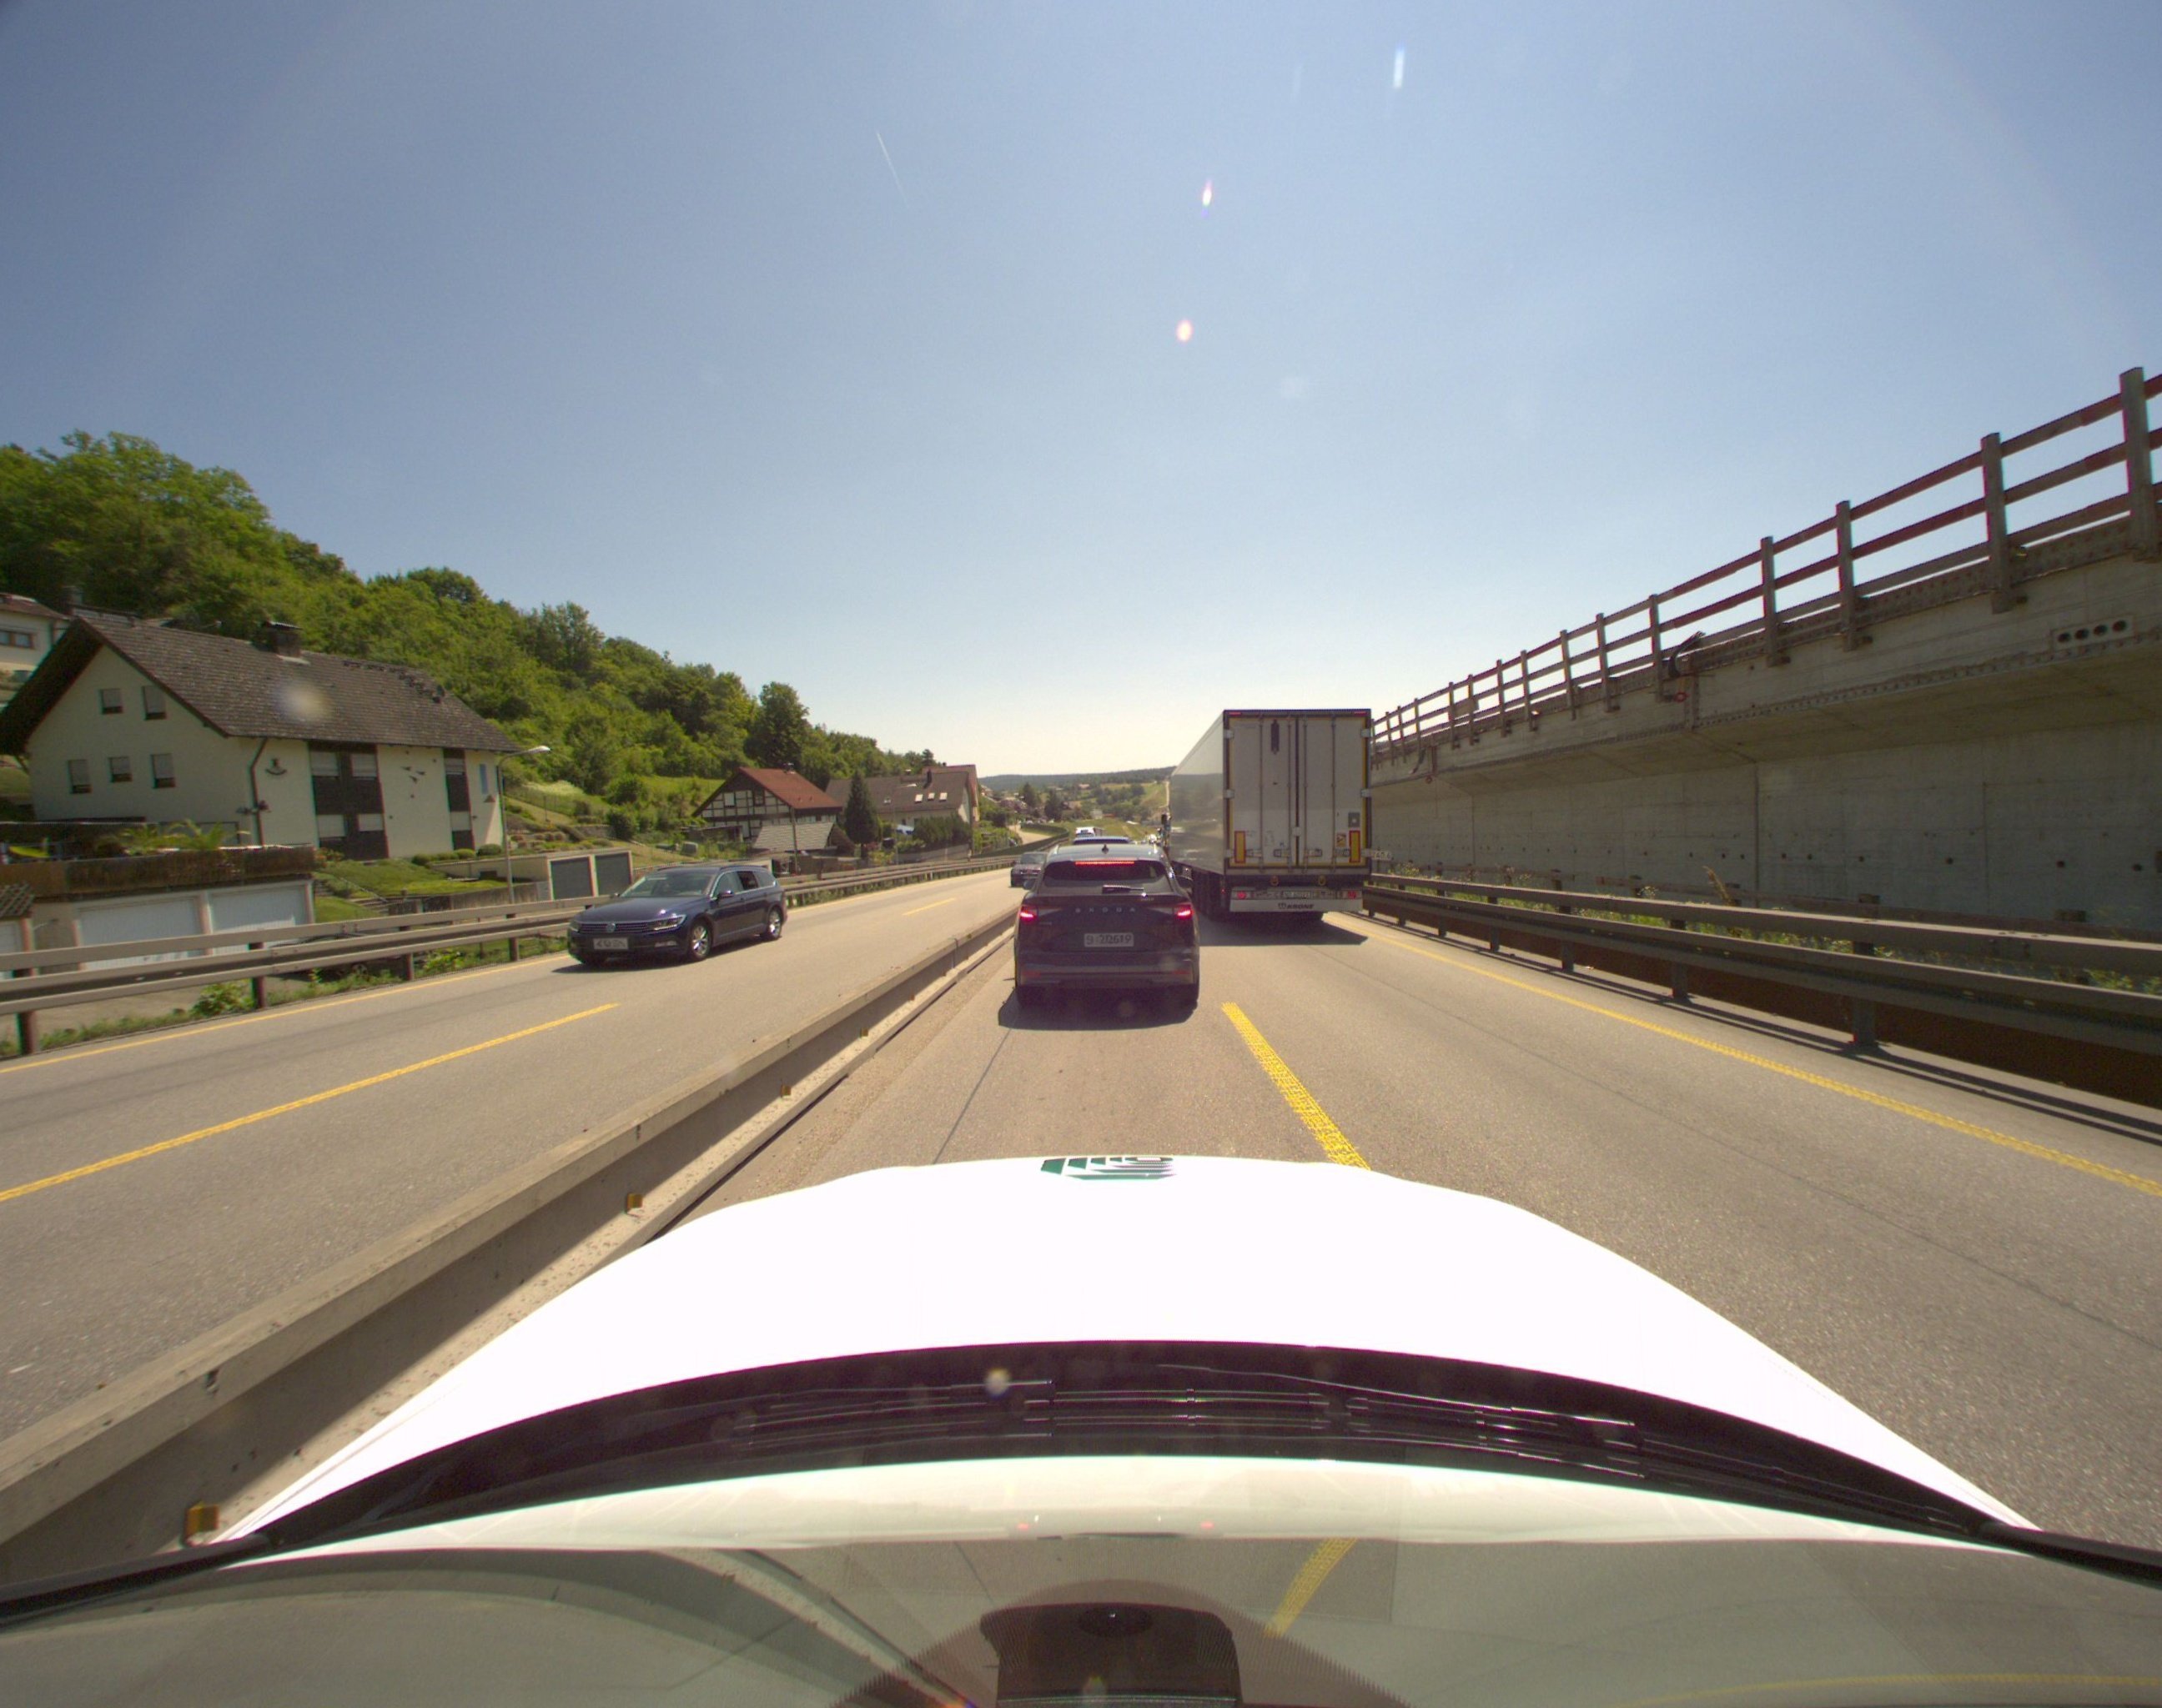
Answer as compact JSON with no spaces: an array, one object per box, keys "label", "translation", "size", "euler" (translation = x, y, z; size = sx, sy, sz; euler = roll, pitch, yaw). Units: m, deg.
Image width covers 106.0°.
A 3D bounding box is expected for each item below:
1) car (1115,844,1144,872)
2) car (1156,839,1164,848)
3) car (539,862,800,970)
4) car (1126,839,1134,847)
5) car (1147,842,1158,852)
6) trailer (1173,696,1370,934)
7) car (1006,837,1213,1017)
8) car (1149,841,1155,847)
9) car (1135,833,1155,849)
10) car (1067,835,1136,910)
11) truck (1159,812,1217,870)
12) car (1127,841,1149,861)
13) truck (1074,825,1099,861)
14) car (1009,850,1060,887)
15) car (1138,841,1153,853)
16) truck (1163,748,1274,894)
[{"label":"car","translation":[3.034,0.207,51.042],"size":[1.700,1.622,4.002],"euler":[0,1,2]},{"label":"car","translation":[16.761,-2.188,173.126],"size":[1.692,1.728,3.843],"euler":[-1,-1,7]},{"label":"car","translation":[-6.568,0.893,13.726],"size":[1.834,1.418,4.689],"euler":[-2,-1,2]},{"label":"car","translation":[10.646,-2.374,176.630],"size":[1.694,1.728,3.839],"euler":[-1,-1,3]},{"label":"car","translation":[11.902,-1.151,136.046],"size":[1.692,1.728,3.843],"euler":[-1,-1,7]},{"label":"trailer","translation":[3.967,-0.628,19.945],"size":[2.522,4.127,11.553],"euler":[0,-1,2]},{"label":"car","translation":[0.208,0.662,9.219],"size":[1.838,1.586,3.904],"euler":[0,-1,-2]},{"label":"car","translation":[20.995,-2.895,240.018],"size":[1.692,1.728,3.843],"euler":[-1,-1,7]},{"label":"car","translation":[6.950,-1.417,88.595],"size":[1.985,1.585,3.839],"euler":[-1,-1,3]},{"label":"car","translation":[0.494,0.433,22.771],"size":[1.702,1.881,3.998],"euler":[0,1,-2]},{"label":"truck","translation":[6.644,-0.693,52.138],"size":[3.179,3.191,12.828],"euler":[-1,0,6]},{"label":"car","translation":[4.732,-0.264,67.973],"size":[1.700,1.622,4.002],"euler":[0,1,2]},{"label":"truck","translation":[0.722,-1.366,101.628],"size":[2.739,4.283,4.965],"euler":[0,1,5]},{"label":"car","translation":[-1.912,0.571,34.616],"size":[1.711,1.408,4.003],"euler":[-2,1,3]},{"label":"car","translation":[8.702,-0.932,110.104],"size":[1.985,1.585,3.839],"euler":[-1,-1,3]},{"label":"truck","translation":[4.210,-0.874,26.610],"size":[2.503,4.025,8.242],"euler":[0,-1,2]}]
